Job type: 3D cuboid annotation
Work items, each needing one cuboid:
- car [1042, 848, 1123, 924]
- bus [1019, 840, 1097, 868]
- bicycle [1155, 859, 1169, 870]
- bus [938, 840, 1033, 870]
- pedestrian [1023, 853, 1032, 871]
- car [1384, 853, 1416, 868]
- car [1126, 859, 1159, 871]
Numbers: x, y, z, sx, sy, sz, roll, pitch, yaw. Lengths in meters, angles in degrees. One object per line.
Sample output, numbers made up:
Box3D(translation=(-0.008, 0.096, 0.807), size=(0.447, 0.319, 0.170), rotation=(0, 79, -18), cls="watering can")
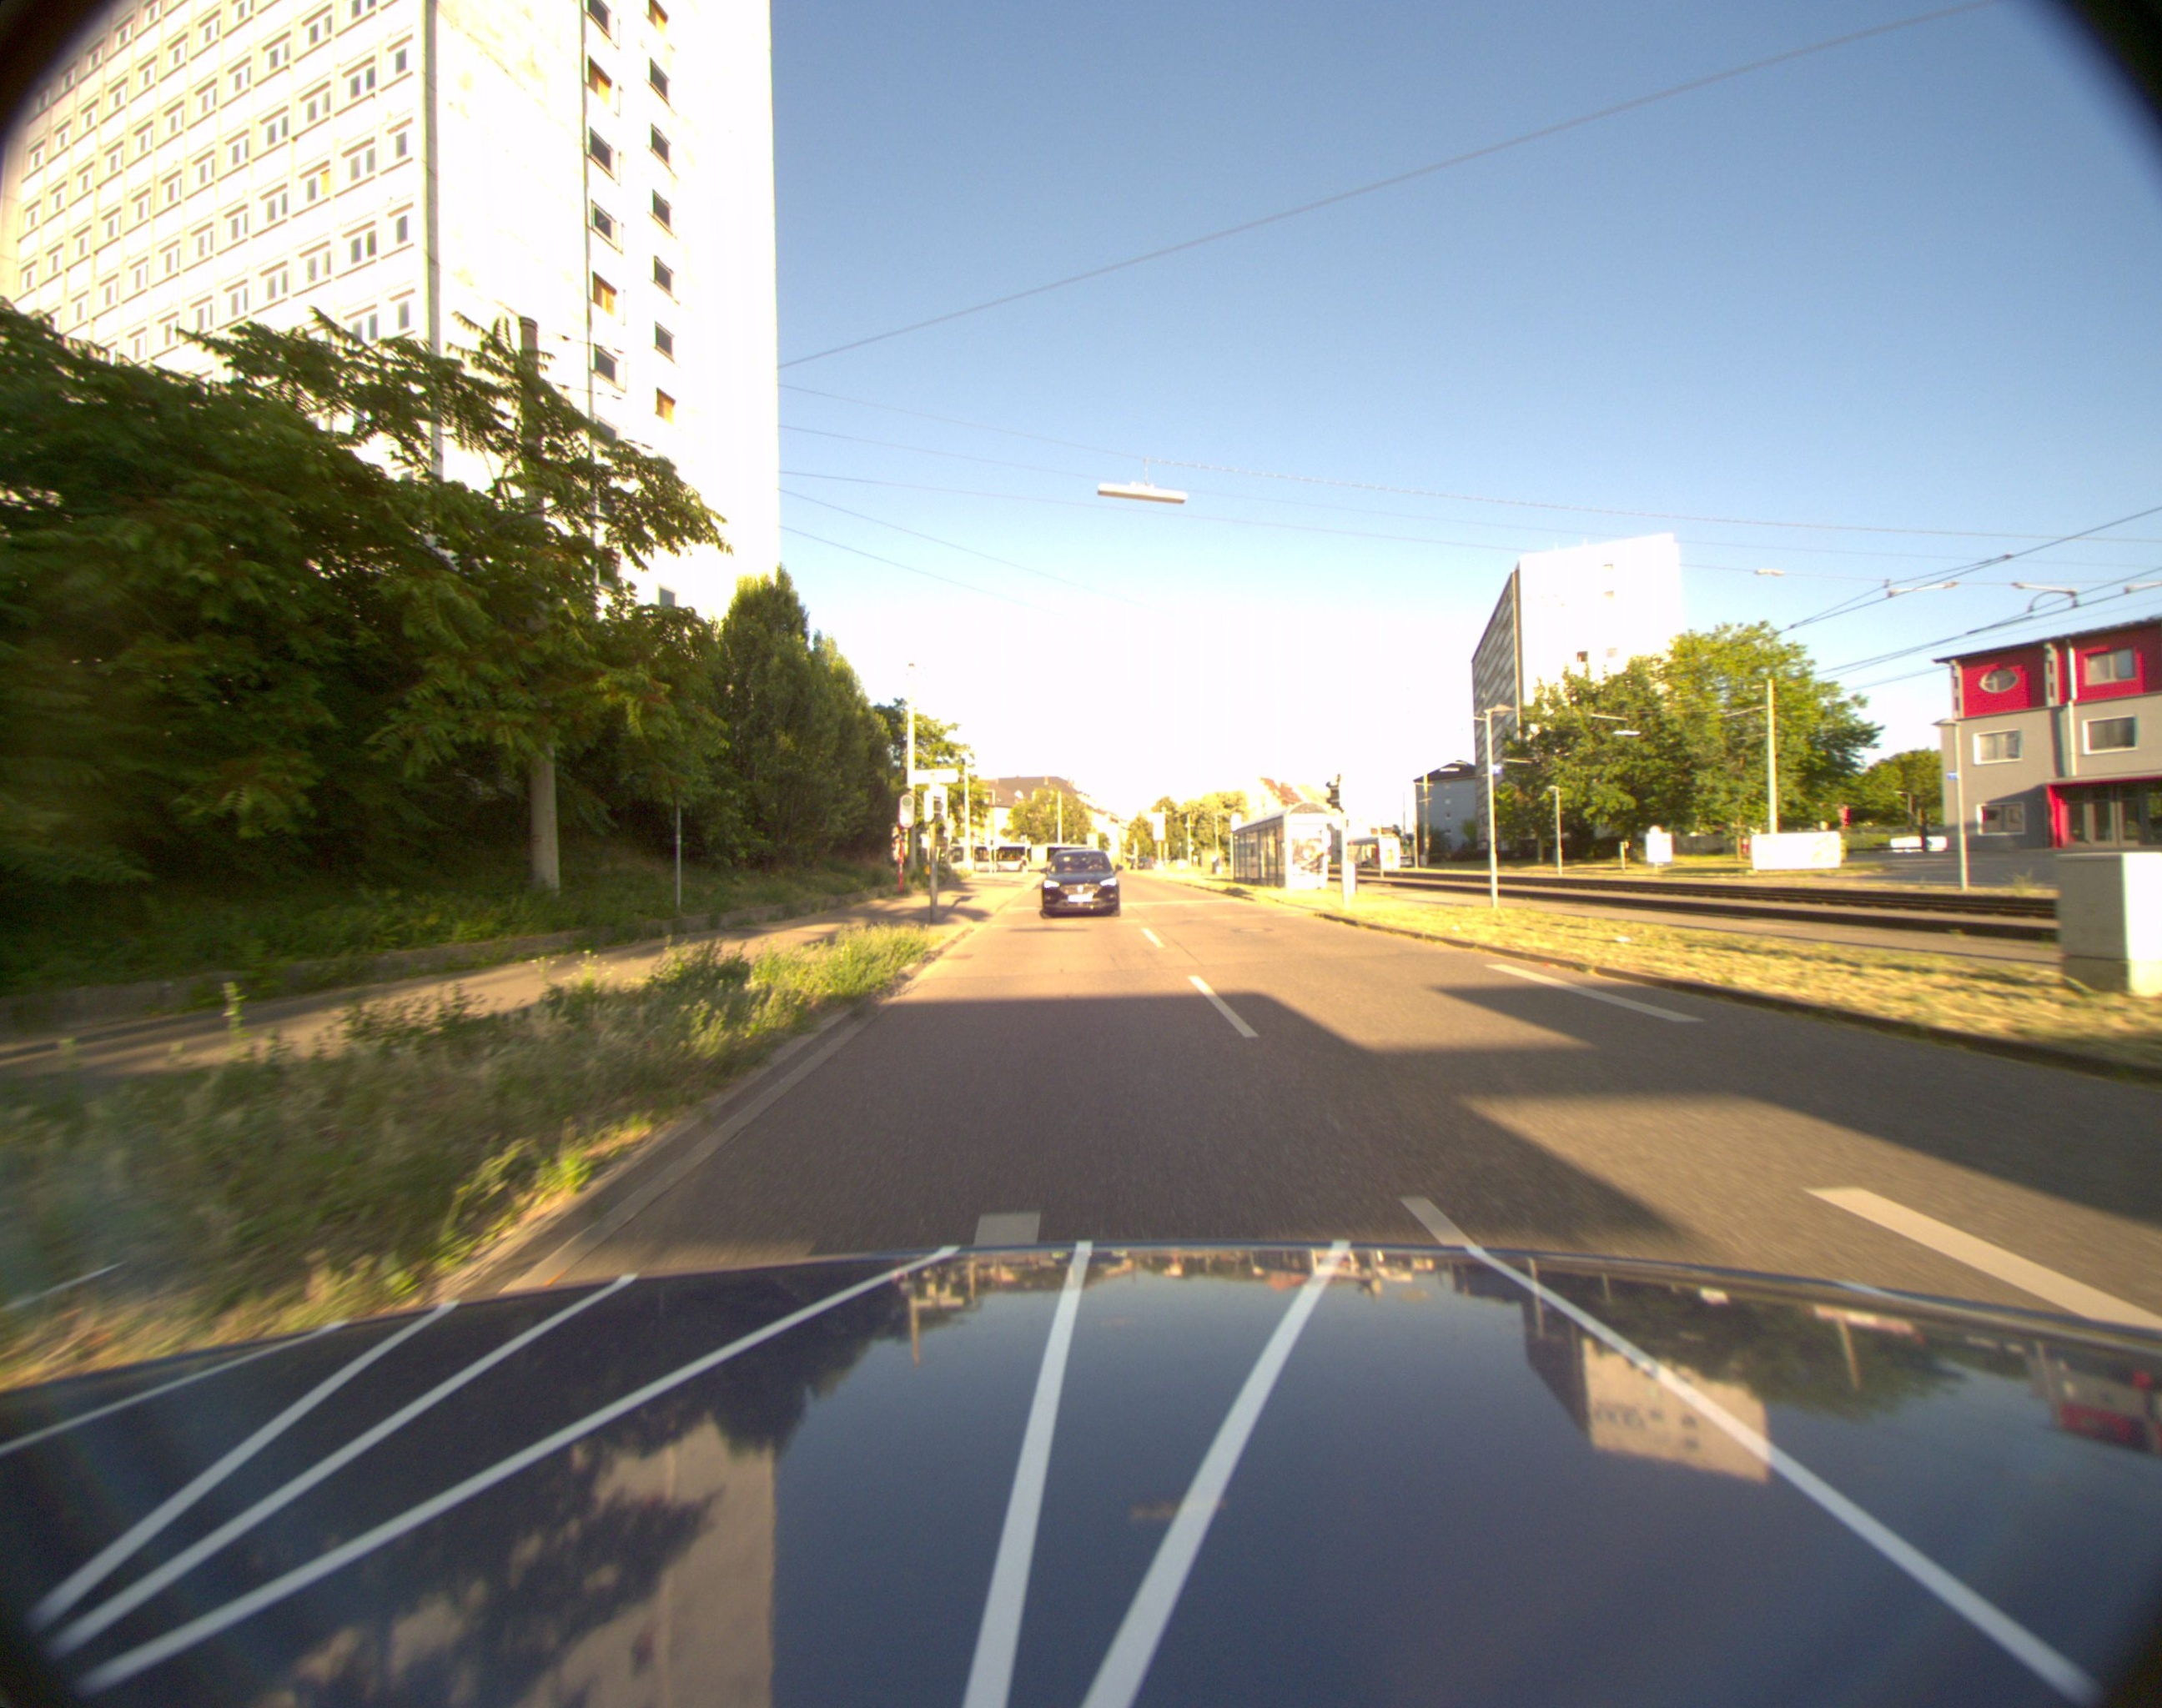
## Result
Box3D(translation=(0.075, 0.715, 19.524), size=(1.818, 1.670, 4.623), rotation=(-1, 1, 1), cls="car")
Box3D(translation=(-2.440, -0.029, 84.601), size=(8.876, 3.007, 2.606), rotation=(-1, 0, -39), cls="bus")
Box3D(translation=(7.459, 0.980, 70.102), size=(0.606, 0.988, 1.750), rotation=(-1, 0, 30), cls="bicycle")
Box3D(translation=(-9.870, 0.100, 79.313), size=(9.593, 3.007, 2.607), rotation=(-1, 0, -31), cls="bus")
Box3D(translation=(-4.977, 0.747, 70.759), size=(0.592, 1.586, 0.548), rotation=(0, 0, 35), cls="pedestrian")
Box3D(translation=(35.153, 0.757, 83.795), size=(1.740, 1.539, 4.437), rotation=(-1, -1, 3), cls="car")
Box3D(translation=(7.682, 1.340, 94.750), size=(3.987, 1.465, 1.737), rotation=(0, -1, -43), cls="car")
